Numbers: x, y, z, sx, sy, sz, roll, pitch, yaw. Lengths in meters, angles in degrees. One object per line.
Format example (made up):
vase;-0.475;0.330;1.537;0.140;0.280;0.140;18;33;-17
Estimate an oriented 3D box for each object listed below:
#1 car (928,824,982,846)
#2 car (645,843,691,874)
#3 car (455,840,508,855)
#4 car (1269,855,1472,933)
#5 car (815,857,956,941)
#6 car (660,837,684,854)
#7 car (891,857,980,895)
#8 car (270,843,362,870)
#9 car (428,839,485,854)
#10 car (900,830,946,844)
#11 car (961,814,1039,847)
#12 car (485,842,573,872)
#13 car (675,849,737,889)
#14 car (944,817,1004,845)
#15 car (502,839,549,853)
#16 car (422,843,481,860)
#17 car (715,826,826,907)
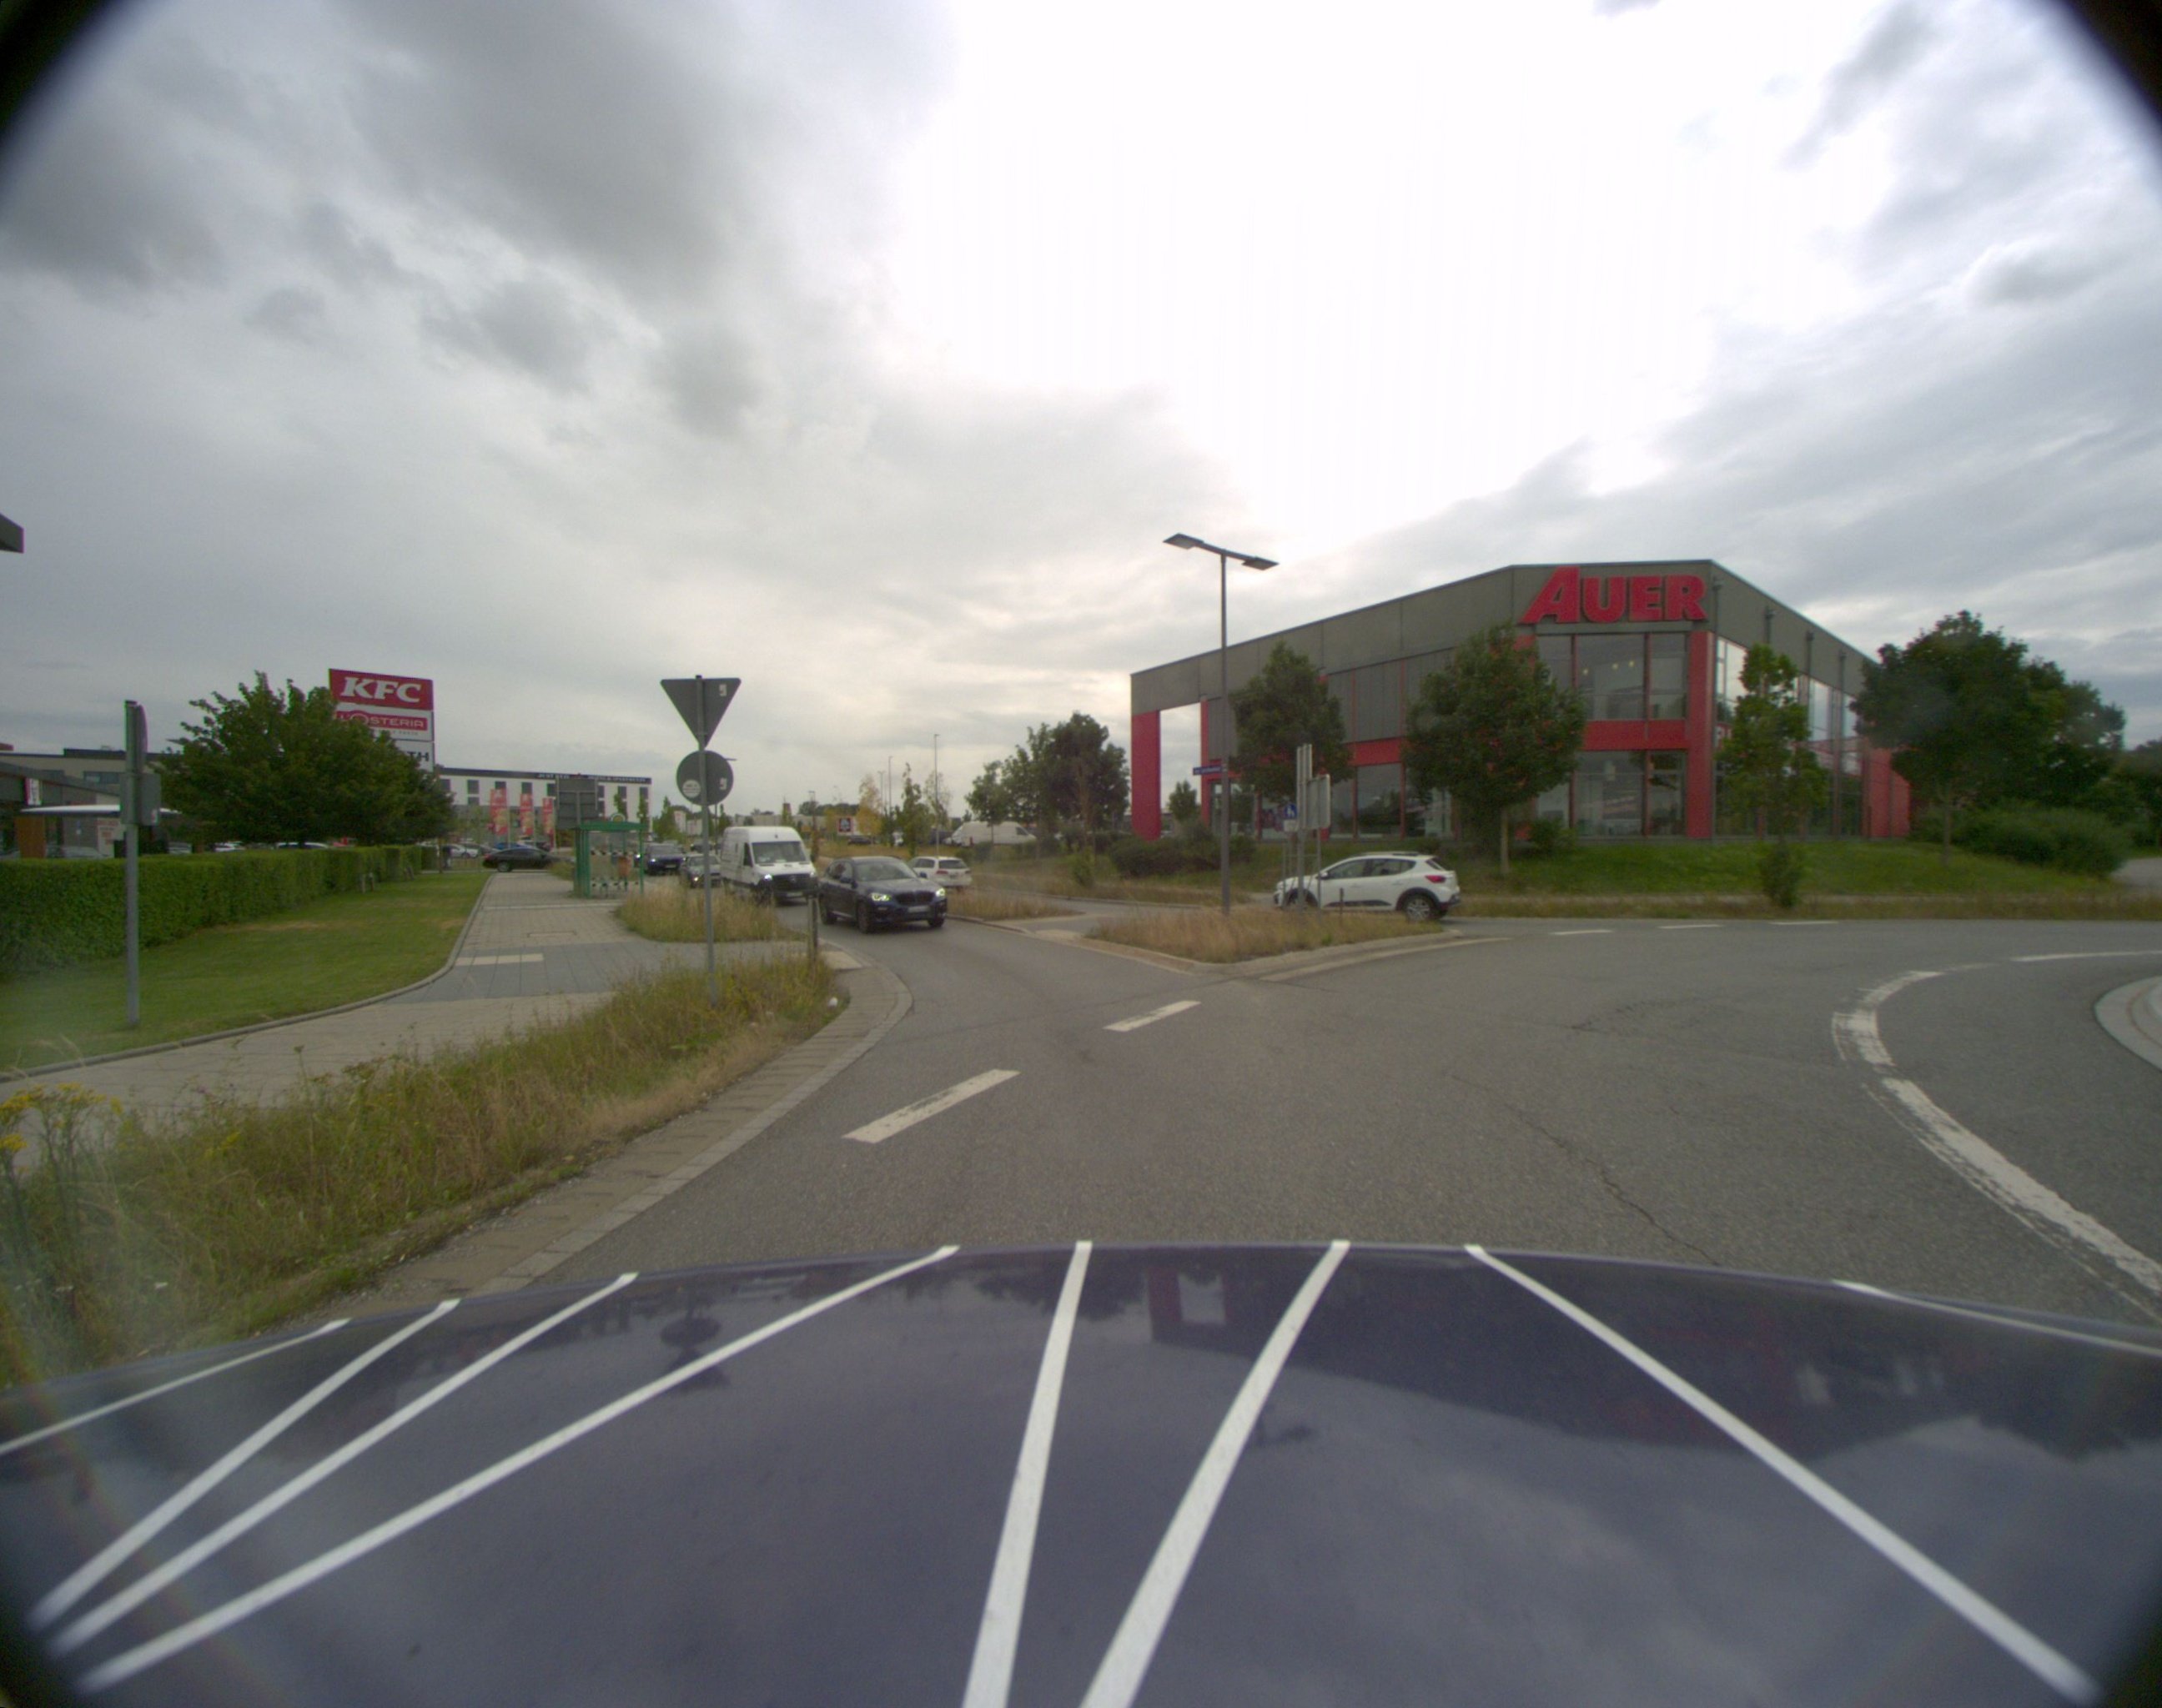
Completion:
car;-12.919;-1.986;78.062;5.065;2.211;2.059;-1;2;-29
car;-23.803;0.217;43.740;1.872;1.599;3.988;-2;2;-35
car;-63.384;-0.731;80.419;4.005;1.478;1.843;-1;2;-24
car;6.607;0.831;17.516;4.074;1.549;1.737;0;1;34
car;-4.728;0.946;17.992;1.872;1.599;3.988;-2;2;-36
car;-44.468;-0.957;82.709;2.002;1.566;3.990;-3;4;-26
car;-6.016;0.833;31.046;1.731;1.400;4.631;-1;1;-36
car;-49.841;0.110;49.624;4.007;1.478;1.841;-4;5;-40
car;-61.863;-0.763;75.328;4.005;1.478;1.843;-1;2;-24
car;-19.179;-2.108;92.014;5.064;1.647;2.059;-1;2;-26
car;-7.054;-2.124;66.686;6.429;2.610;2.059;-3;4;-32
car;-32.381;0.131;44.737;4.006;1.478;1.842;-3;4;-32
car;-16.985;0.626;34.334;1.872;1.599;3.988;-2;2;-35
car;-9.979;-2.191;70.886;5.065;2.360;2.058;-4;4;-36
car;-65.486;-0.981;89.639;4.003;1.478;1.843;-2;4;-19
car;-59.355;-0.263;71.735;4.006;1.478;1.842;-1;2;-29
car;-10.976;0.317;26.557;2.031;2.513;6.087;-2;2;-37
